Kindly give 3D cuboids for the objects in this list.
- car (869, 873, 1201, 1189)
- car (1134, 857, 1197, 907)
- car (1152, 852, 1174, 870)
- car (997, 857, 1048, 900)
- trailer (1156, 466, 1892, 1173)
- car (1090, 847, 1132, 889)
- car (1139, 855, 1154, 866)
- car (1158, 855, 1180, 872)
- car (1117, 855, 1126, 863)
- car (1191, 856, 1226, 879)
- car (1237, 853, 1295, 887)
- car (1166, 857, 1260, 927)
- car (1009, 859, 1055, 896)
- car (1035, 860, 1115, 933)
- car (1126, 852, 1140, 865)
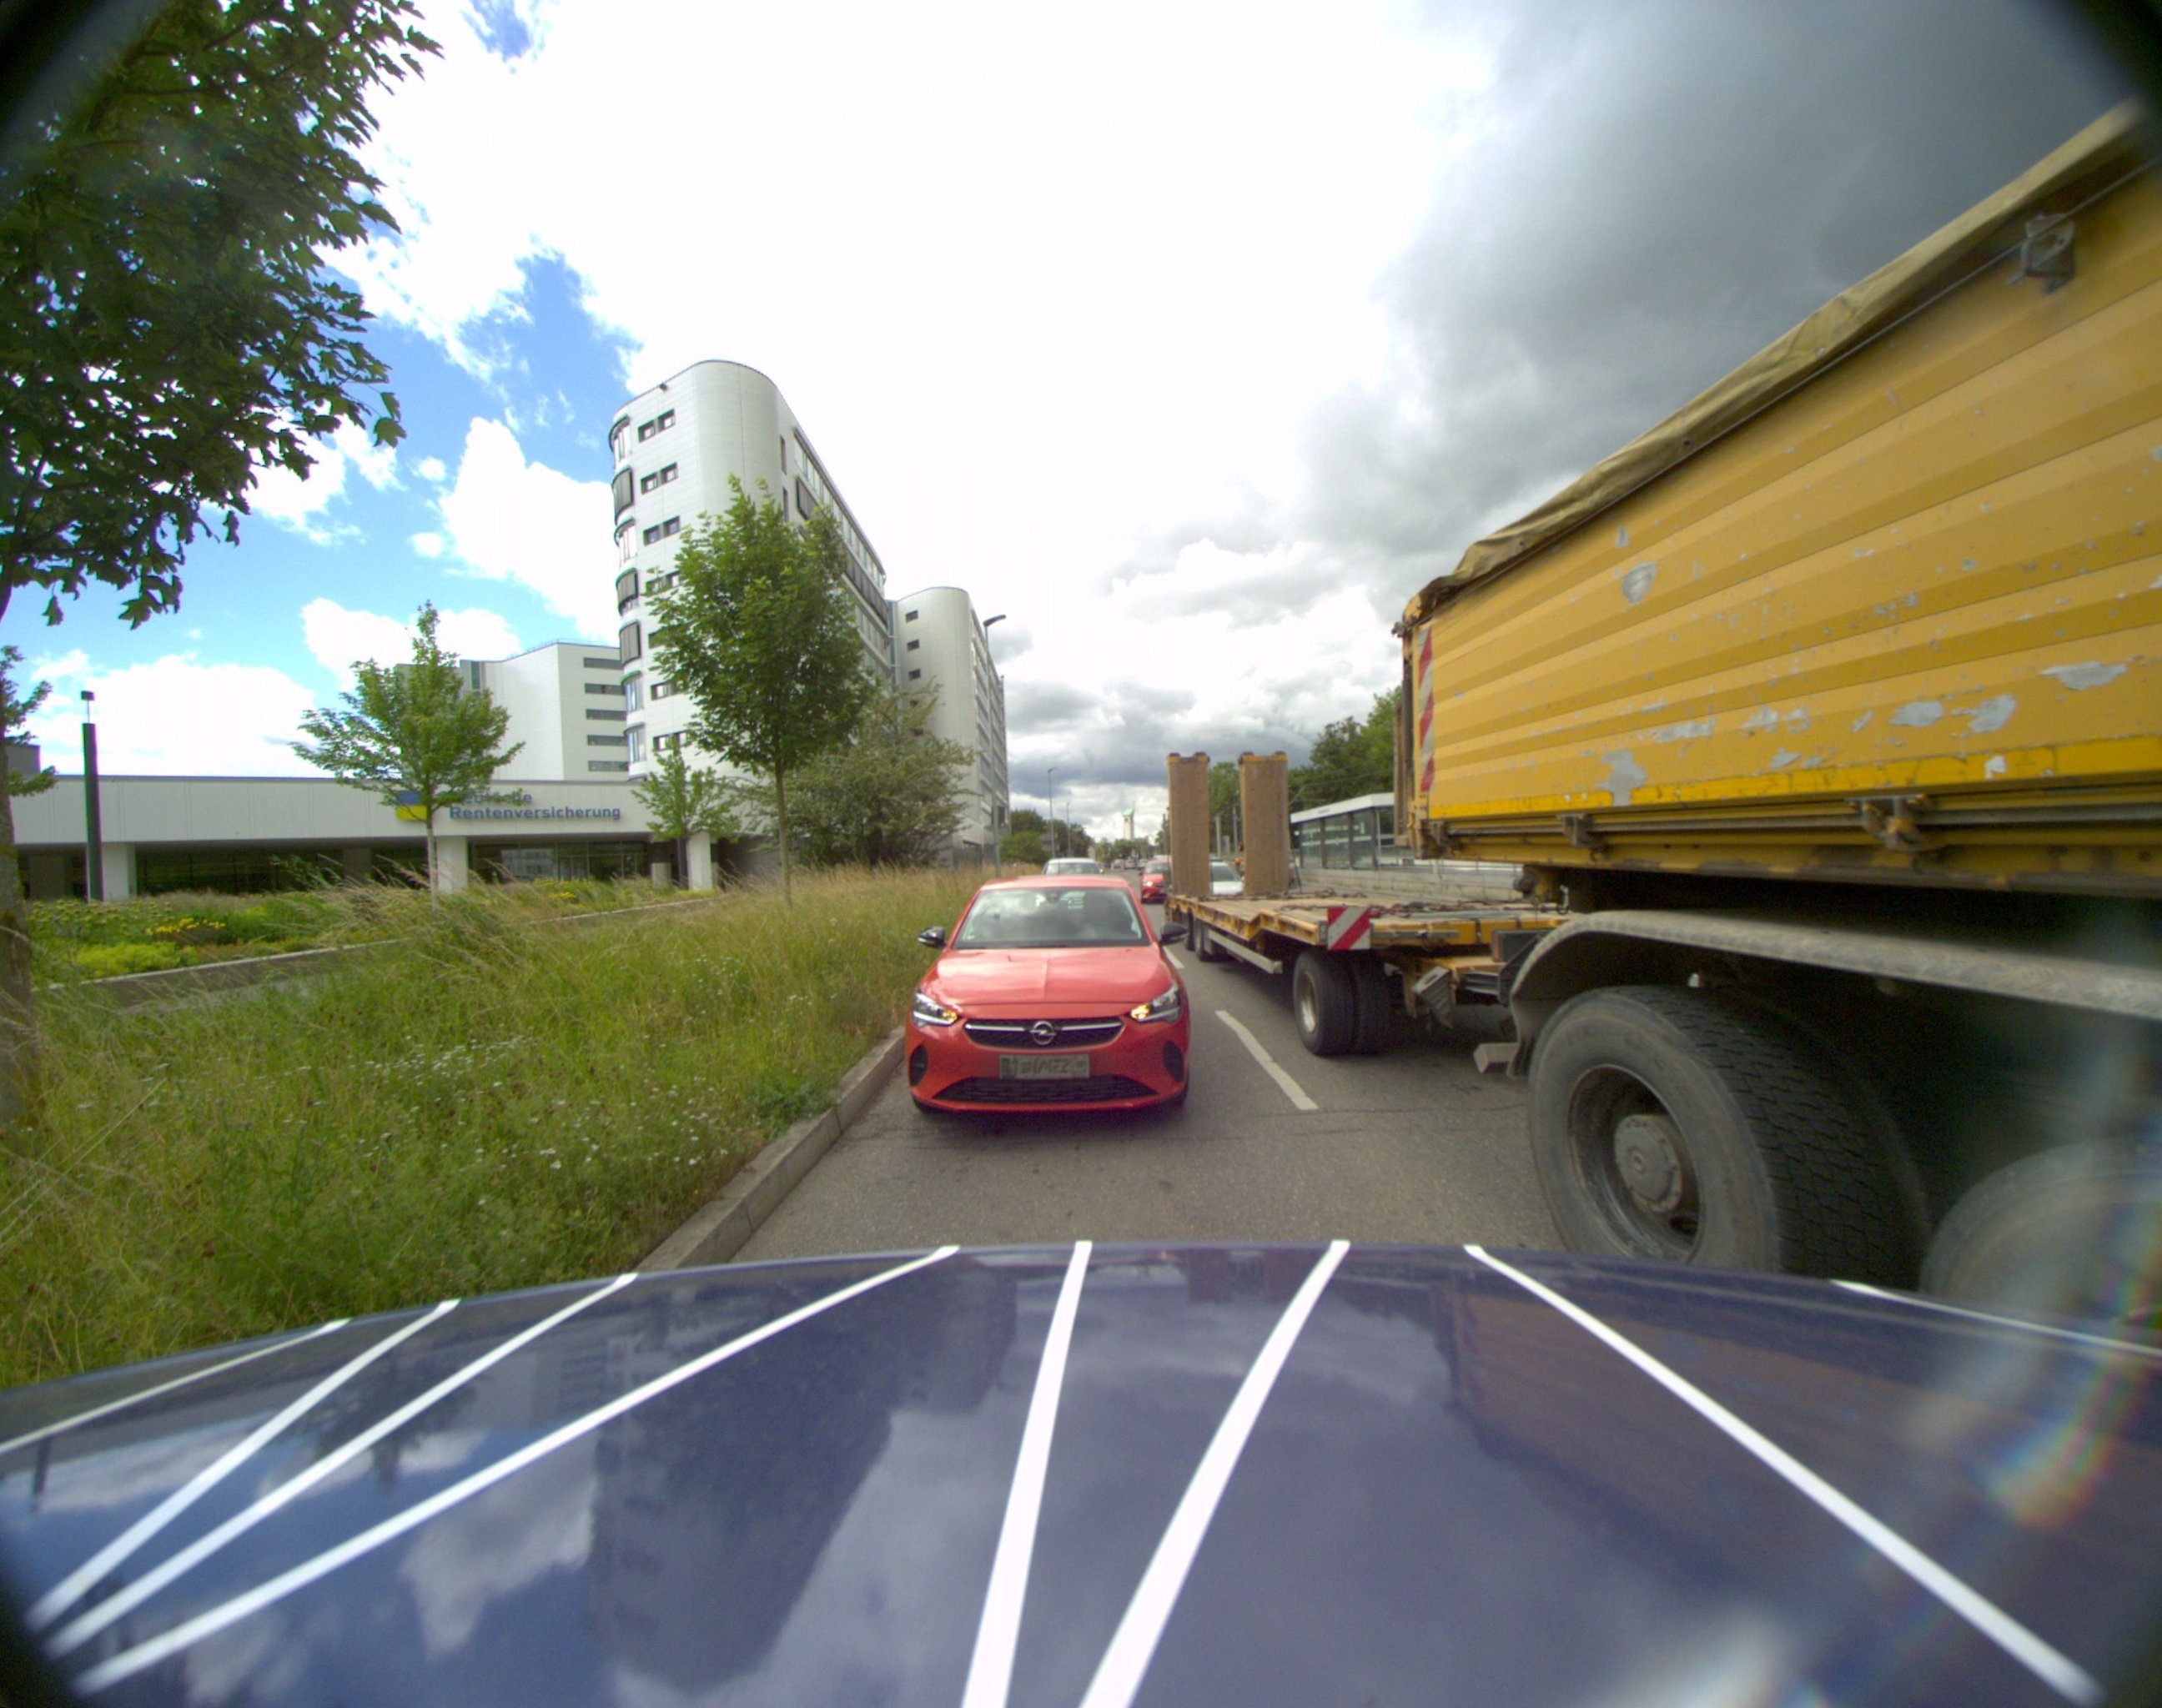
[{"bbox_3d":[-0.213,0.988,6.003,1.692,1.471,3.999,-2,1,1],"label":"car"},{"bbox_3d":[2.830,0.902,26.164,1.692,1.471,3.999,-2,1,1],"label":"car"},{"bbox_3d":[8.770,0.726,81.444,1.887,1.761,4.864,-2,0,1],"label":"car"},{"bbox_3d":[-2.305,0.941,30.659,1.738,1.565,3.445,-2,0,0],"label":"car"},{"bbox_3d":[2.799,-0.164,9.334,2.713,3.501,10.914,-2,0,1],"label":"trailer"},{"bbox_3d":[1.526,0.707,39.746,1.998,2.002,4.000,-2,0,1],"label":"car"},{"bbox_3d":[8.885,0.878,103.152,1.644,1.489,3.554,-2,0,1],"label":"car"},{"bbox_3d":[8.185,0.895,70.835,1.705,1.449,3.566,-2,0,1],"label":"car"},{"bbox_3d":[8.447,1.073,158.899,1.770,1.489,3.554,-2,0,1],"label":"car"},{"bbox_3d":[8.453,0.876,50.653,1.766,1.432,4.279,-2,0,2],"label":"car"},{"bbox_3d":[8.686,0.709,35.933,1.781,1.460,4.044,-2,0,1],"label":"car"},{"bbox_3d":[3.225,0.868,19.280,1.692,1.471,3.999,-2,1,1],"label":"car"},{"bbox_3d":[-2.263,1.057,36.209,1.850,1.565,4.623,-2,0,0],"label":"car"},{"bbox_3d":[-0.144,0.973,18.835,1.738,1.565,3.445,-2,0,0],"label":"car"},{"bbox_3d":[8.686,0.777,126.900,1.998,2.002,4.000,-2,0,1],"label":"car"}]
